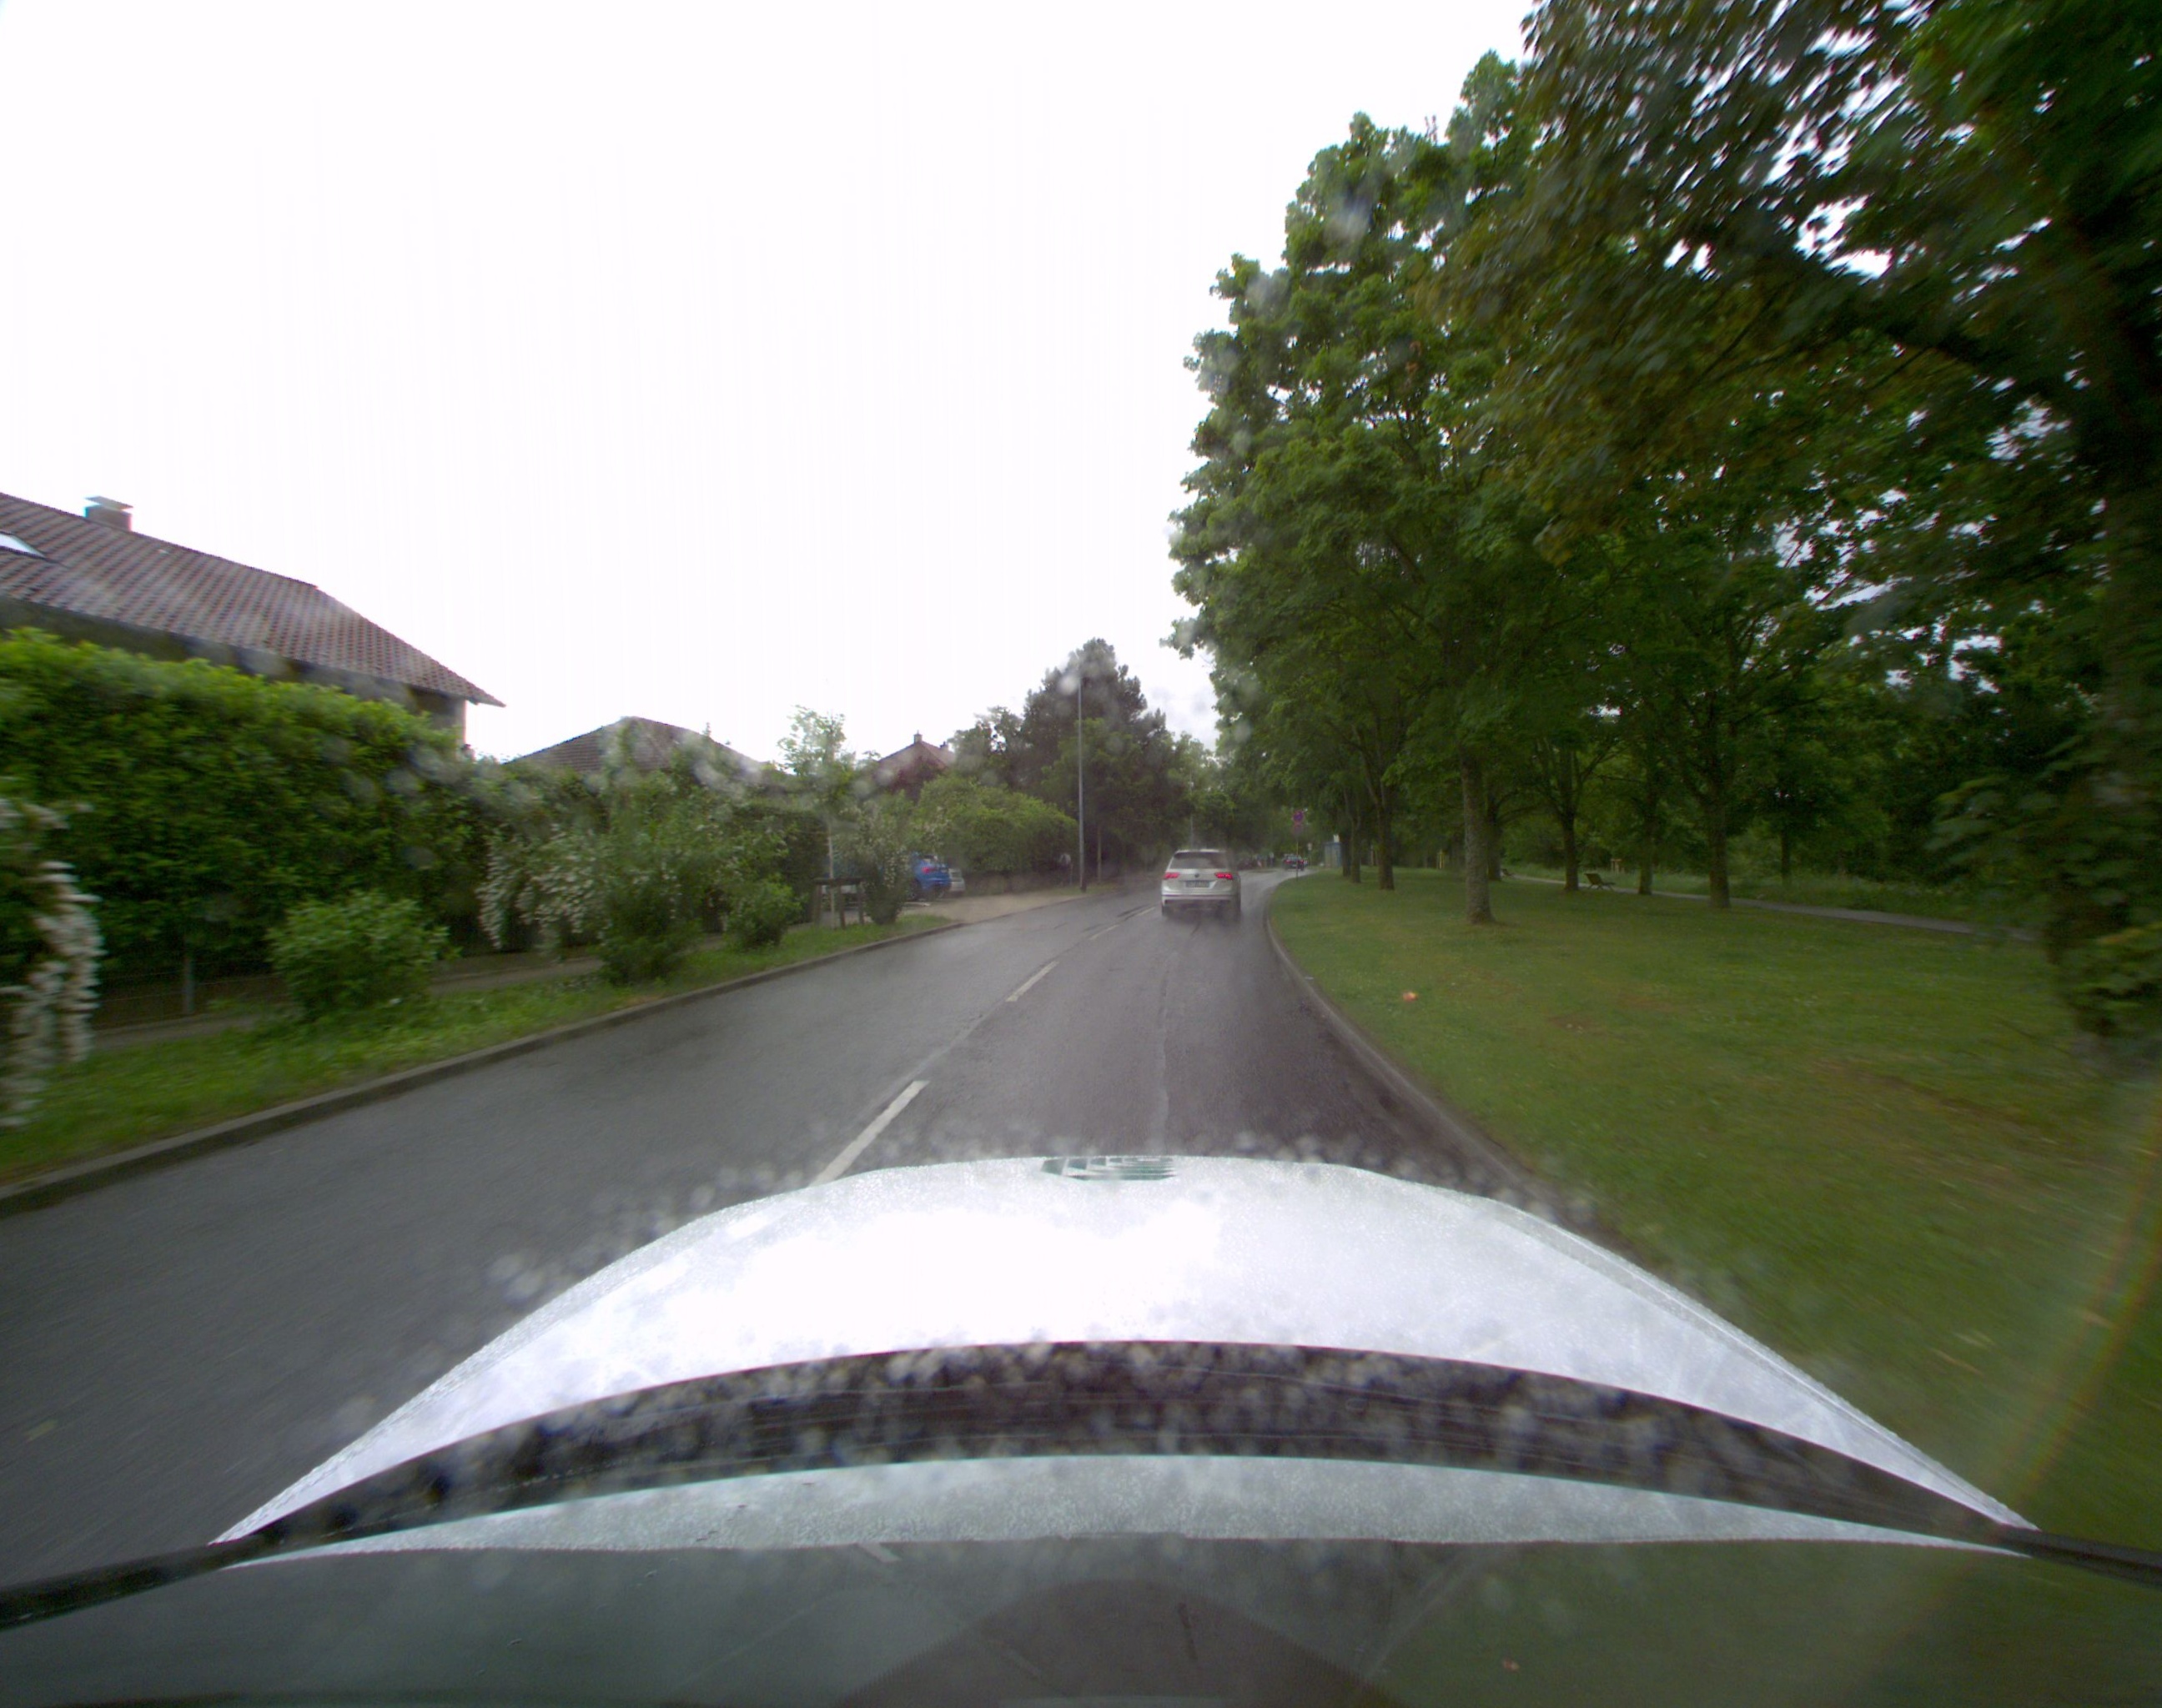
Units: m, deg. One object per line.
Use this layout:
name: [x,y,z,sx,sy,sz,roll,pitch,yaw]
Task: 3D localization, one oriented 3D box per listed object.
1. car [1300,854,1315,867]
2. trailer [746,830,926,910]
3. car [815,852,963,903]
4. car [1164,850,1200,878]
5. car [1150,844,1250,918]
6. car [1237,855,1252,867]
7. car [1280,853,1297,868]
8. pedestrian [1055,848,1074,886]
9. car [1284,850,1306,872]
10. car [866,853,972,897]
car: [34.183,0.965,122.976,1.980,1.805,4.014,0,-1,13]
trailer: [-7.012,0.460,23.450,4.590,2.171,1.820,-1,0,11]
car: [-6.243,0.757,26.754,4.210,1.539,2.058,-1,0,11]
car: [5.877,0.567,46.999,1.572,1.477,3.910,-2,0,14]
car: [3.121,0.622,20.611,1.959,1.653,4.194,-1,0,15]
car: [24.086,1.011,120.088,1.979,1.763,4.014,0,-1,14]
car: [25.112,0.776,98.647,1.980,1.759,4.014,0,-1,13]
pedestrian: [-0.742,0.564,36.158,0.774,1.662,0.843,-1,0,0]
car: [20.228,0.641,77.185,1.888,2.014,3.957,0,-1,12]
car: [-5.925,0.755,29.999,3.381,1.519,1.736,-1,0,11]
